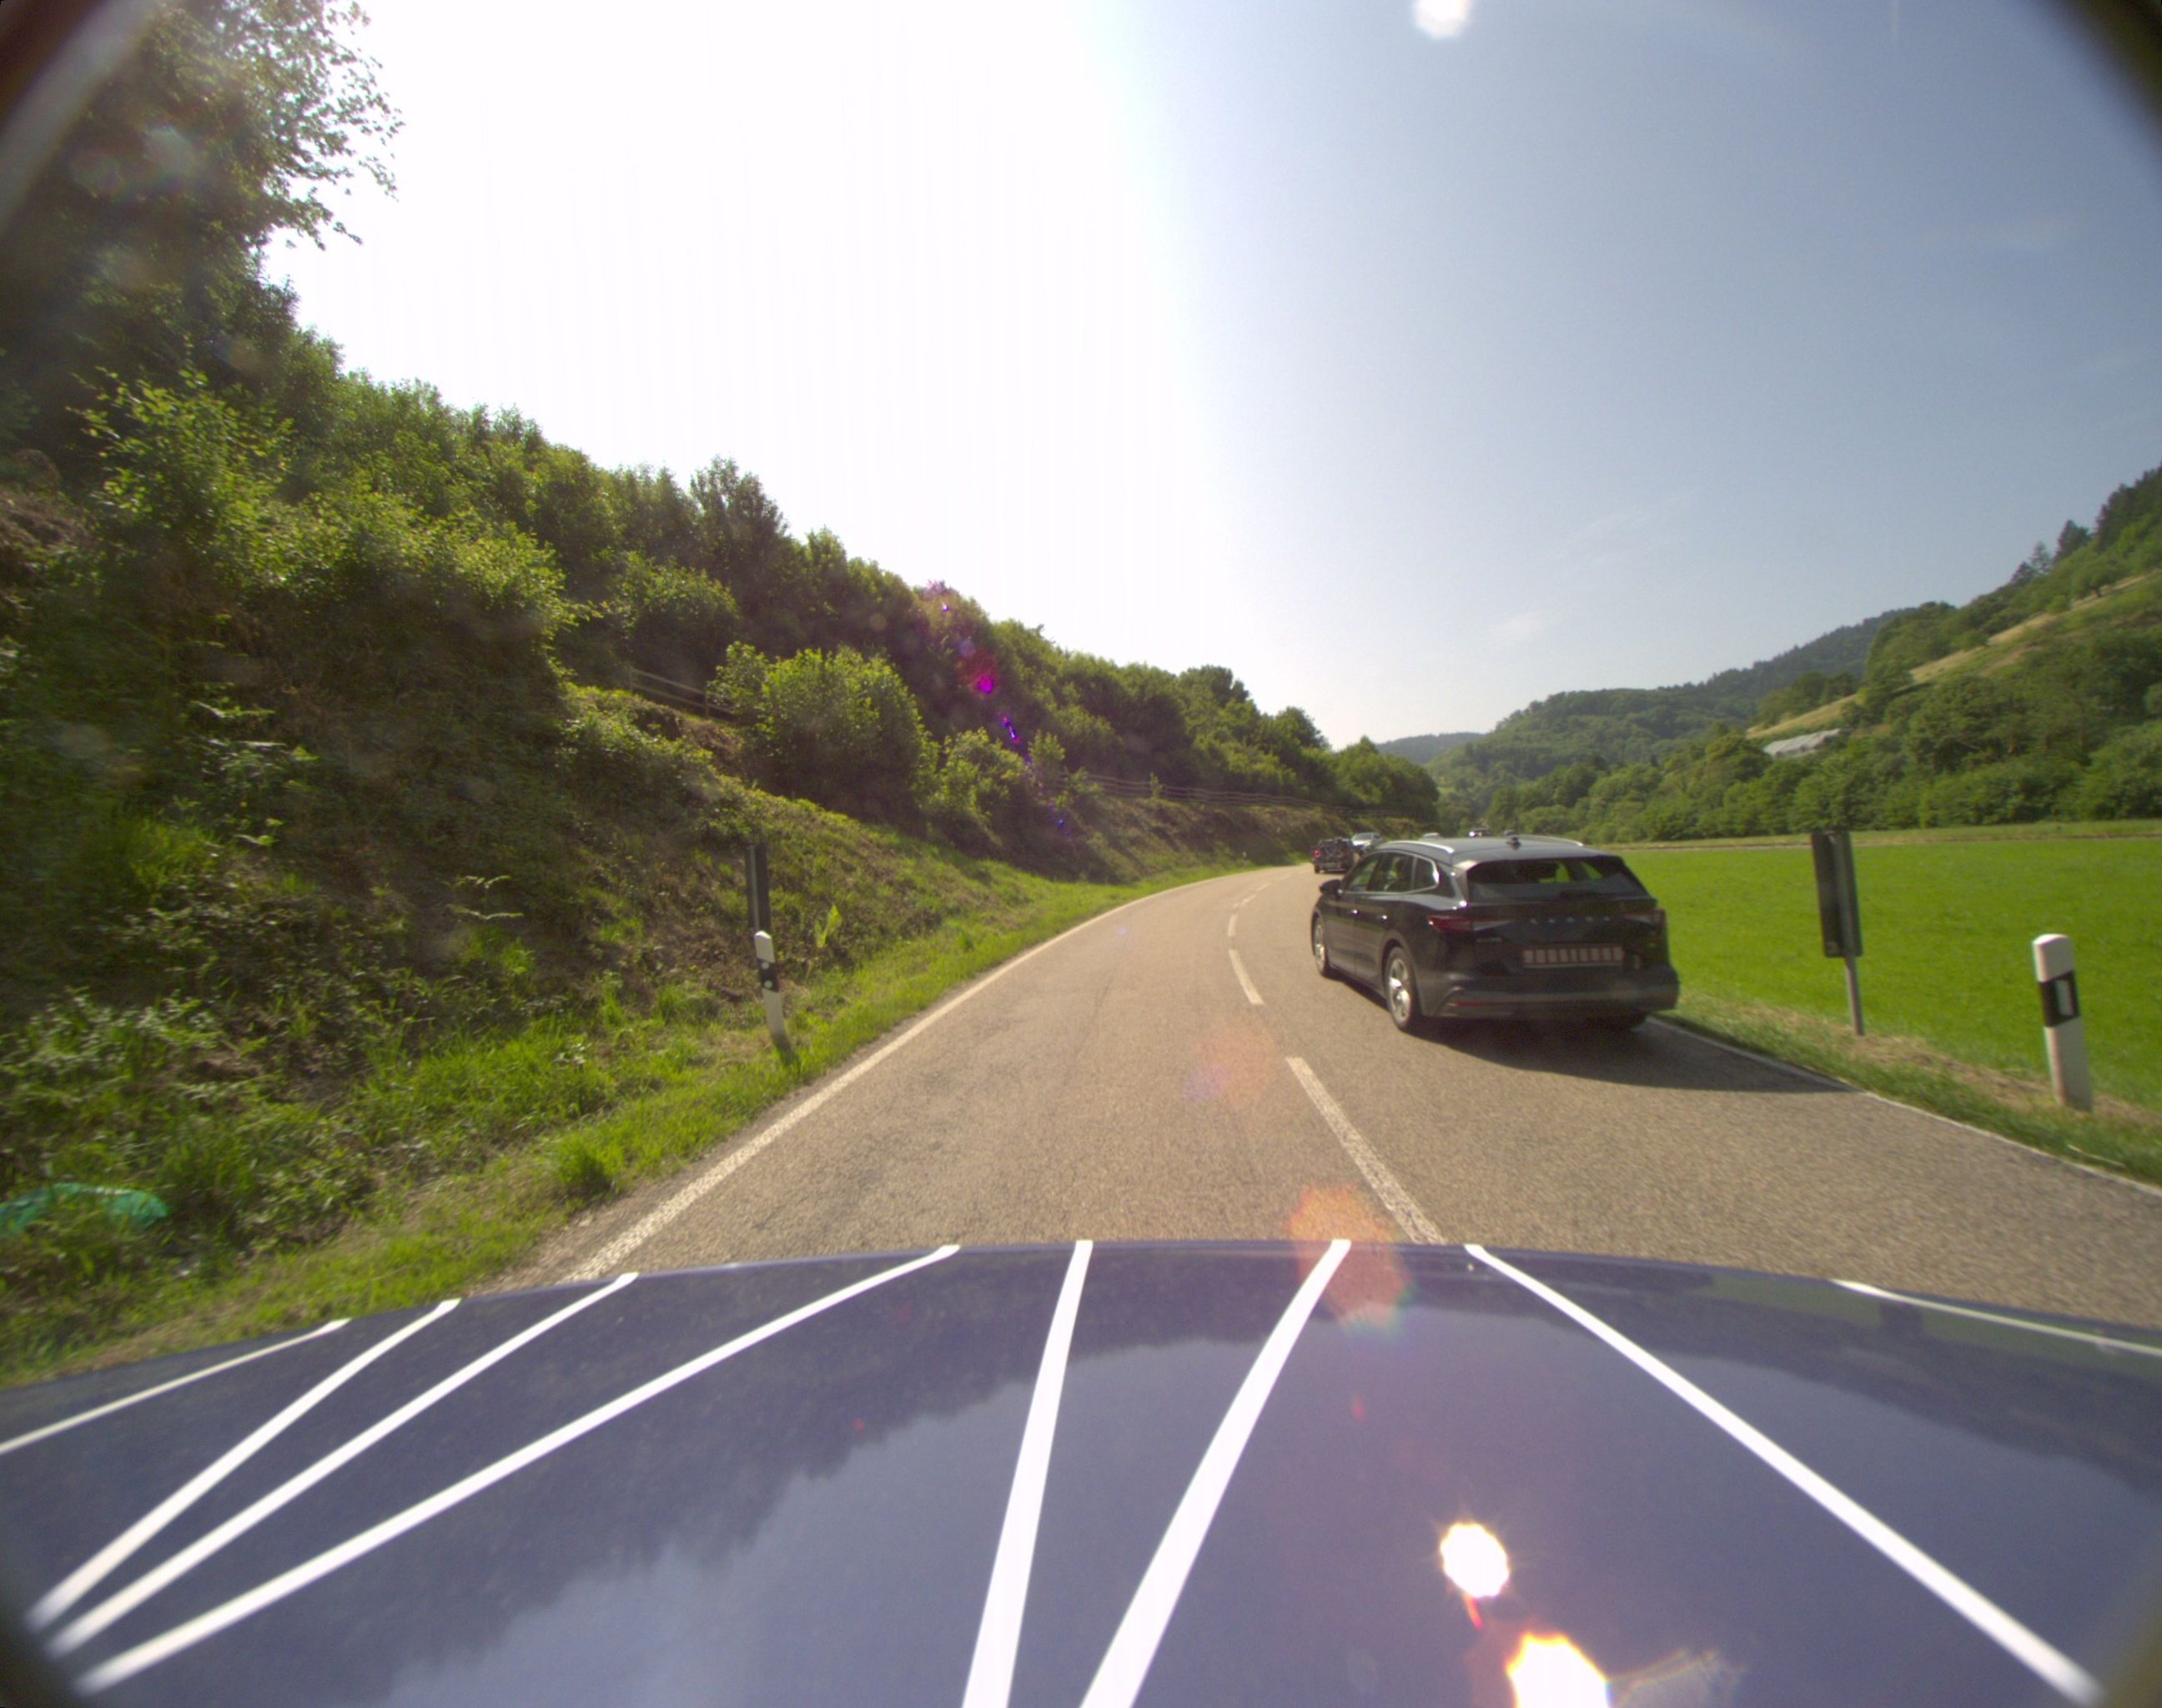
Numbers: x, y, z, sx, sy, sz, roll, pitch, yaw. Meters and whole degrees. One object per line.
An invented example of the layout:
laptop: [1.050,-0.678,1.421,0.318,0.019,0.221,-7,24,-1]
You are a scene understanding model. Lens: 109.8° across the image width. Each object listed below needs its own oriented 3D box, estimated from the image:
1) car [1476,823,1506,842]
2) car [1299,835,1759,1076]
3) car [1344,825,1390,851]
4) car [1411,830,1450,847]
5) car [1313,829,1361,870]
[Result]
car: [40.512,-2.168,75.033,1.709,1.665,4.007,-5,-1,41]
car: [3.590,0.648,7.295,1.880,1.578,4.595,-1,1,3]
car: [21.865,-1.209,57.992,2.114,1.803,4.464,-4,-1,36]
car: [33.439,-1.458,72.567,2.142,1.482,4.681,-2,1,40]
car: [11.980,-0.229,35.360,1.951,1.730,4.903,-1,1,21]
